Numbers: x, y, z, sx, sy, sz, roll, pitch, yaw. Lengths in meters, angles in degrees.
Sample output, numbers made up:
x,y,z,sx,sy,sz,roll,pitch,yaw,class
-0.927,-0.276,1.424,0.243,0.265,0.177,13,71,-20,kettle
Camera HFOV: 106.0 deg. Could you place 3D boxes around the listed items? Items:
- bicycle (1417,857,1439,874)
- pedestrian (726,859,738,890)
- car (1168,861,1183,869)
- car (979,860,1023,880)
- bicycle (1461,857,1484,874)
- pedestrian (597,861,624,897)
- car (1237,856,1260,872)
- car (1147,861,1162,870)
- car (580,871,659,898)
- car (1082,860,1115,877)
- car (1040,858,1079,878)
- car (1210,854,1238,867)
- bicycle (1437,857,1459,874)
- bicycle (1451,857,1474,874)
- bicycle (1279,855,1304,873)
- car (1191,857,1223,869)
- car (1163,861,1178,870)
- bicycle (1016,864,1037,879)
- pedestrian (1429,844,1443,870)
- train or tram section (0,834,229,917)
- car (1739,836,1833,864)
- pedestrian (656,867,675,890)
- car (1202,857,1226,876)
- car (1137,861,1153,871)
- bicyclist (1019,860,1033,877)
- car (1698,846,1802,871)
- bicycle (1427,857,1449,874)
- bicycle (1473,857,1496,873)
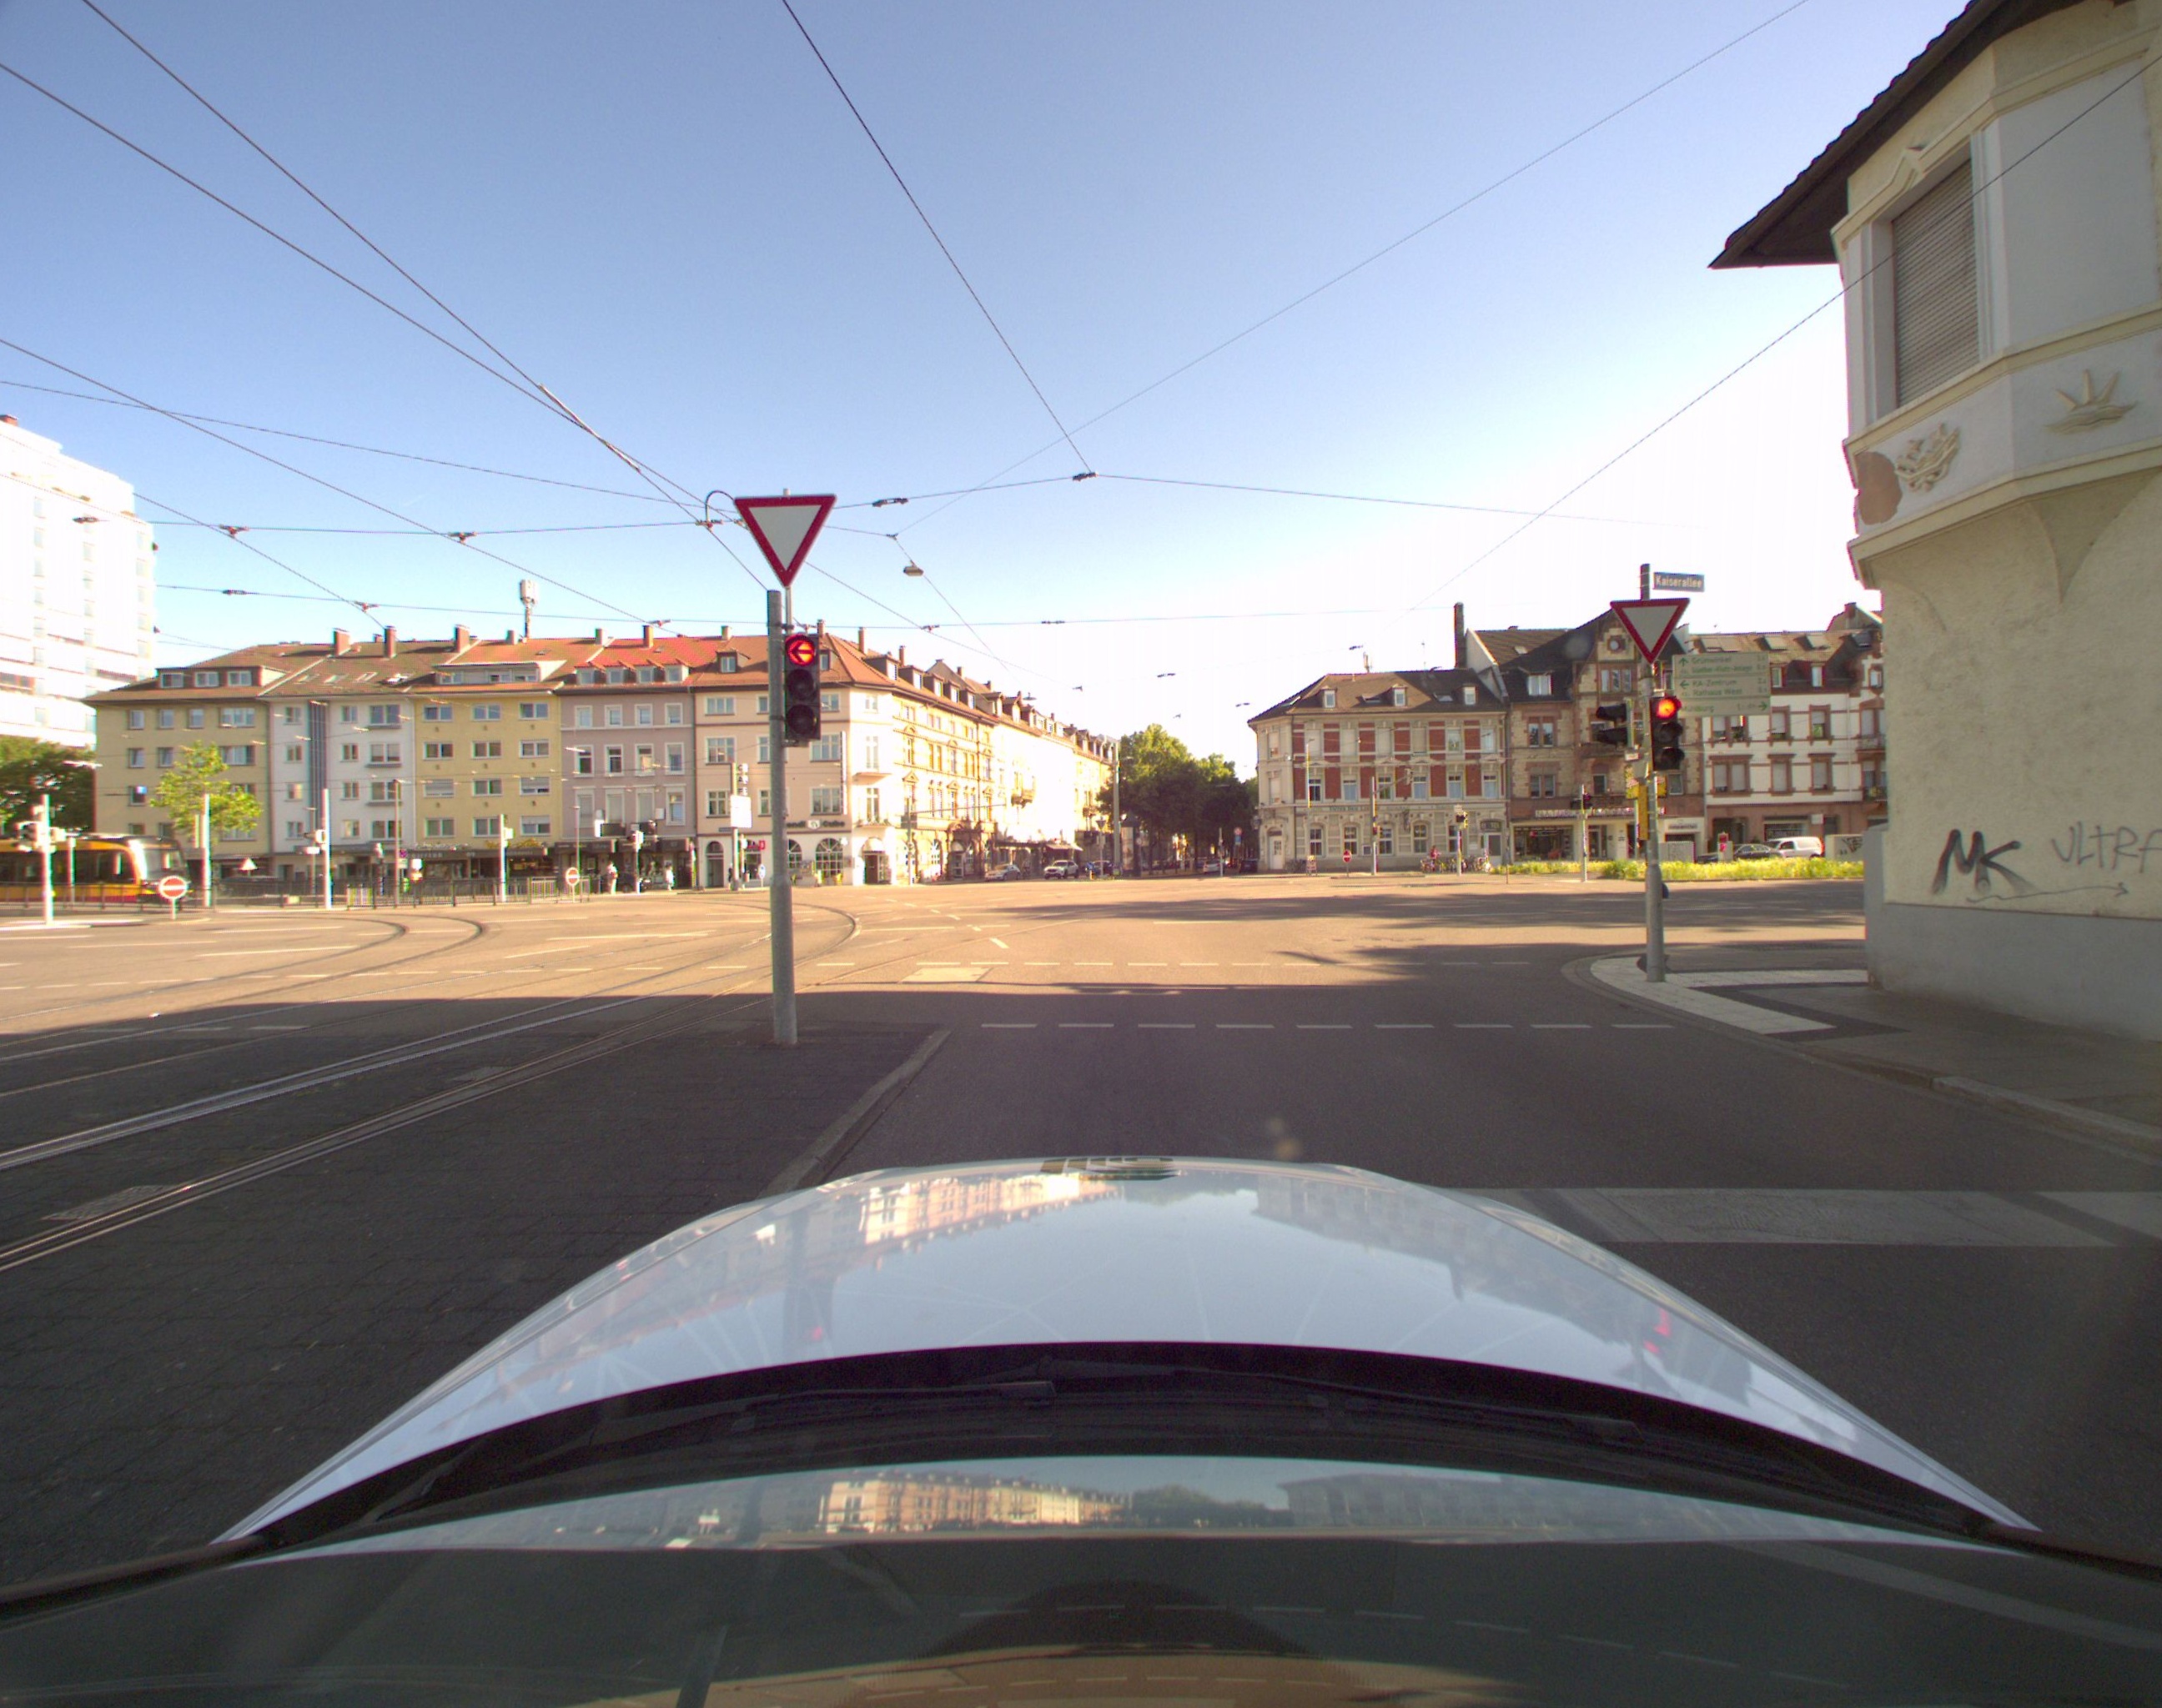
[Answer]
x,y,z,sx,sy,sz,roll,pitch,yaw,class
22.496,0.735,52.856,0.603,1.051,1.641,-1,0,-3,bicycle
-22.778,1.353,53.135,0.506,2.013,0.505,-1,0,5,pedestrian
15.859,1.826,136.220,1.728,1.397,4.141,1,0,16,car
-6.599,1.299,67.714,2.080,1.545,4.382,-1,0,16,car
25.315,0.713,52.636,0.603,1.051,1.641,-1,0,-3,bicycle
-24.569,1.307,42.569,0.871,1.818,0.811,-1,0,2,pedestrian
16.903,0.986,82.068,1.637,1.524,3.772,-2,-1,20,car
11.059,1.721,122.725,1.729,1.397,4.137,1,0,12,car
-30.274,1.987,53.545,3.978,1.464,1.998,-2,0,-4,car
1.695,1.376,78.932,2.080,1.447,4.382,-1,0,16,car
-1.731,1.158,67.384,2.080,1.499,4.017,-1,0,16,car
23.367,1.079,133.089,4.074,1.919,1.756,1,0,23,car
23.813,0.726,52.887,0.603,1.051,1.641,-1,0,-3,bicycle
24.640,0.718,52.587,0.603,1.051,1.641,-1,0,-3,bicycle
14.696,0.686,56.956,1.625,1.222,0.609,-1,0,18,bicycle
17.780,1.270,115.057,4.074,1.646,1.756,1,0,23,car
14.435,1.803,131.473,1.728,1.397,4.141,1,0,16,car
-4.510,1.443,67.631,0.745,1.135,2.821,-1,0,16,bicycle
24.365,0.213,55.893,0.705,1.751,0.421,-1,0,3,pedestrian
-50.247,1.111,38.402,16.478,3.570,3.313,-1,0,0,train or tram section
45.385,-0.235,52.491,4.356,1.654,1.999,-1,0,-2,car
-28.984,1.707,56.802,0.787,1.527,0.860,-1,0,2,pedestrian
12.903,1.215,78.879,1.661,1.756,3.776,-2,0,18,car
9.172,1.679,115.789,1.729,1.397,4.137,1,0,12,car
-4.553,1.197,67.575,0.787,1.375,1.113,-1,0,16,bicyclist
39.164,0.249,47.753,4.496,1.341,2.000,-1,0,0,car
23.150,0.731,52.887,0.603,1.051,1.641,-1,0,-3,bicycle
26.053,0.708,52.629,0.603,1.051,1.641,-1,0,-3,bicycle
